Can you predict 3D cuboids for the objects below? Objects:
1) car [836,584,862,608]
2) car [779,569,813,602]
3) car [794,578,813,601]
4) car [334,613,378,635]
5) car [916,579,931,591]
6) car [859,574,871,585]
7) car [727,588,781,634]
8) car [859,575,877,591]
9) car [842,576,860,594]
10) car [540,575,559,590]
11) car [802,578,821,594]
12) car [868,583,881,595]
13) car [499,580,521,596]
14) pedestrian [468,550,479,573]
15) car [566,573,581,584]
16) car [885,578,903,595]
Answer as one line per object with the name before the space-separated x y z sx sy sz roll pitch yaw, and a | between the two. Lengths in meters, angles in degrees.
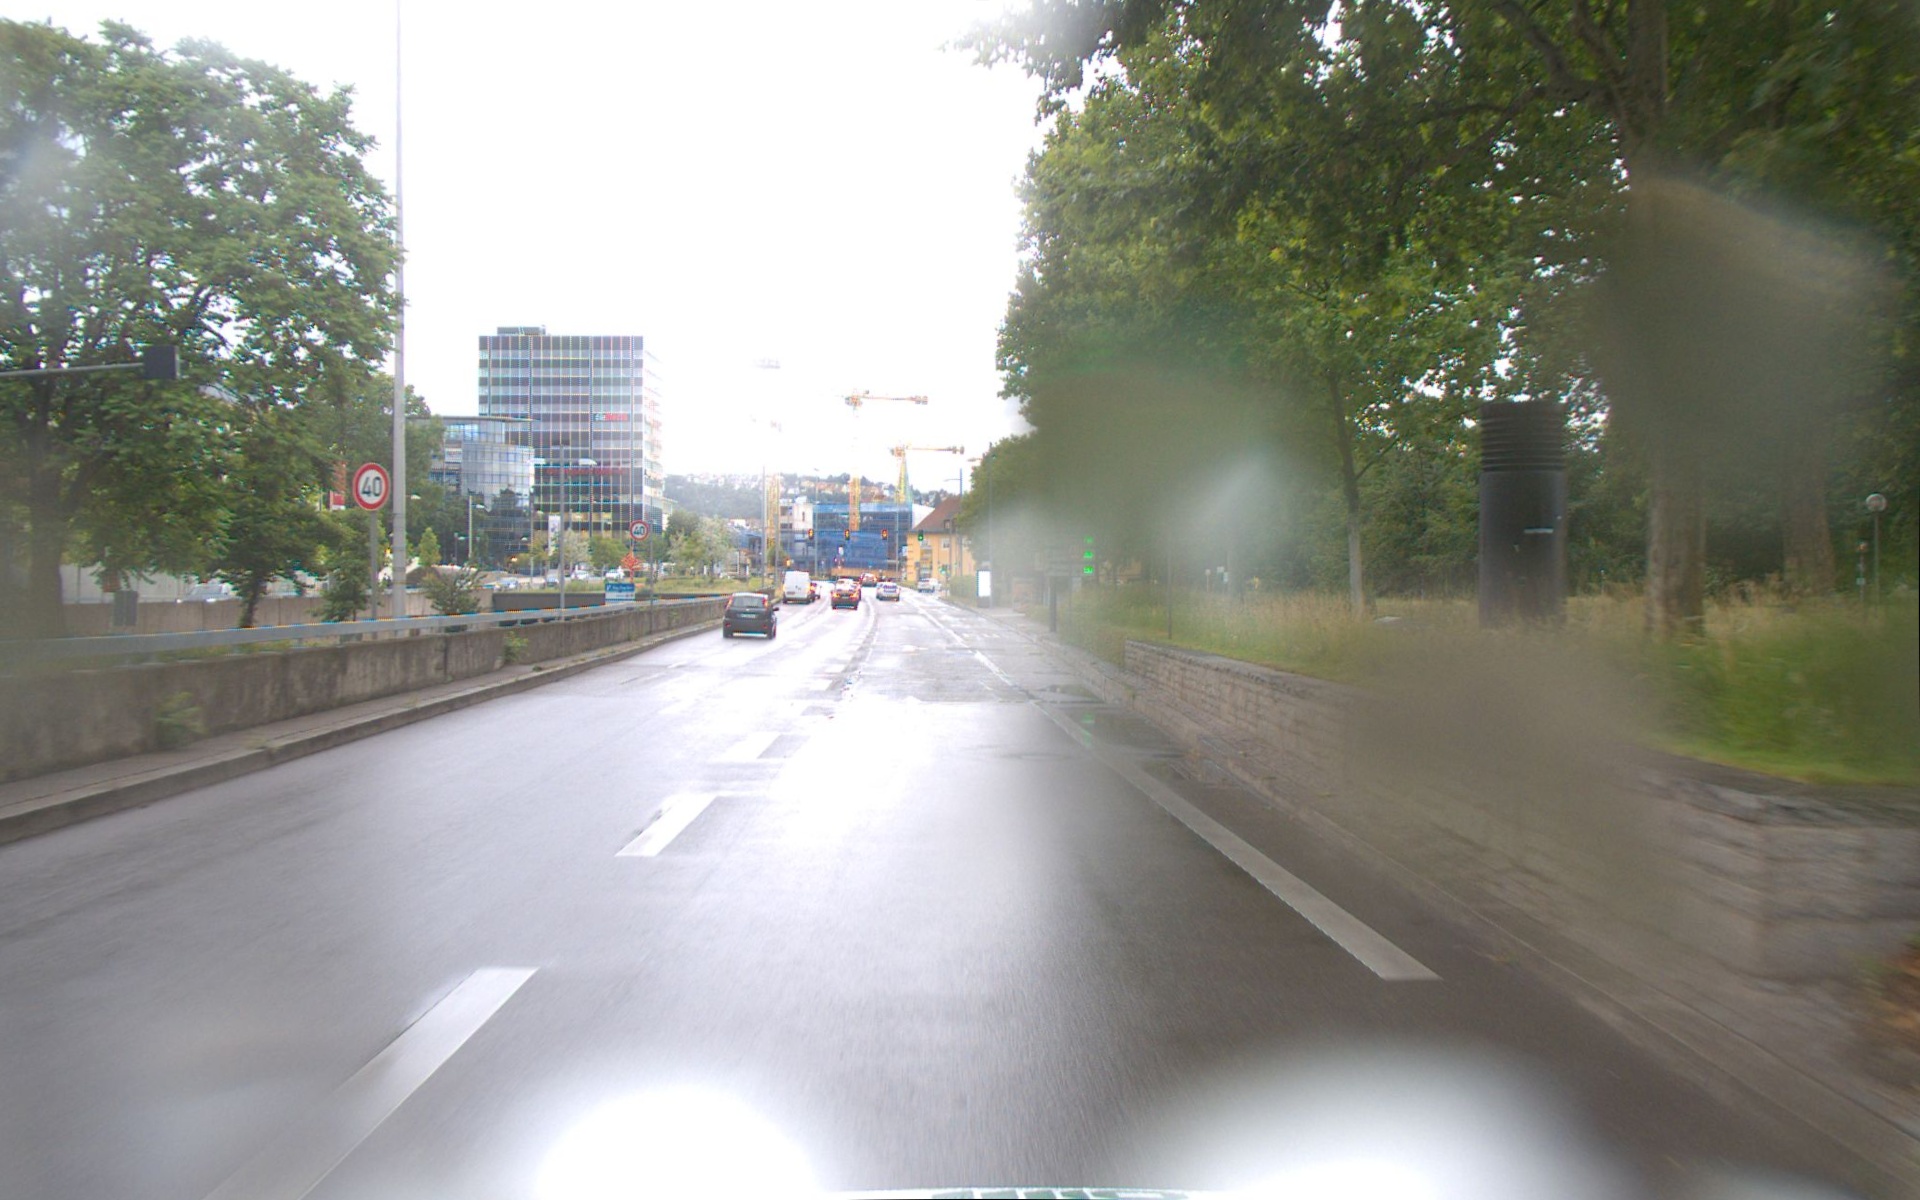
car | -7.674 -0.304 114.010 1.719 1.497 4.219 1 2 -5
car | -12.295 -1.049 124.184 2.247 2.354 5.002 1 0 -3
car | -12.396 -0.835 131.311 1.436 1.736 3.137 1 0 -6
car | -33.230 1.308 91.113 1.458 1.149 3.048 1 0 -4
car | -4.009 -1.712 183.739 1.603 1.194 3.265 1 -1 -1
car | -12.708 -2.778 221.839 1.449 1.384 3.135 1 0 0
car | -6.844 0.365 55.130 1.512 1.440 3.898 1 0 -4
car | -11.614 -2.110 209.622 2.117 1.912 3.770 1 0 -1
car | -9.265 -1.278 140.514 1.464 1.393 3.031 1 0 -4
car | -42.931 -1.851 172.980 1.435 1.465 2.960 1 0 -4
car | -12.592 -1.207 140.230 1.520 1.282 2.578 1 0 -4
car | -7.667 -0.964 148.578 1.054 1.007 1.971 1 -1 -1
car | -41.197 -1.116 151.465 1.317 1.376 2.930 1 0 -1
pedestrian | -47.144 -3.755 160.240 0.762 2.126 0.716 -2 7 -39
car | -47.942 -2.702 205.256 1.380 1.277 3.162 1 0 -6
car | -5.694 -1.175 142.205 1.415 1.383 2.411 1 0 -1
